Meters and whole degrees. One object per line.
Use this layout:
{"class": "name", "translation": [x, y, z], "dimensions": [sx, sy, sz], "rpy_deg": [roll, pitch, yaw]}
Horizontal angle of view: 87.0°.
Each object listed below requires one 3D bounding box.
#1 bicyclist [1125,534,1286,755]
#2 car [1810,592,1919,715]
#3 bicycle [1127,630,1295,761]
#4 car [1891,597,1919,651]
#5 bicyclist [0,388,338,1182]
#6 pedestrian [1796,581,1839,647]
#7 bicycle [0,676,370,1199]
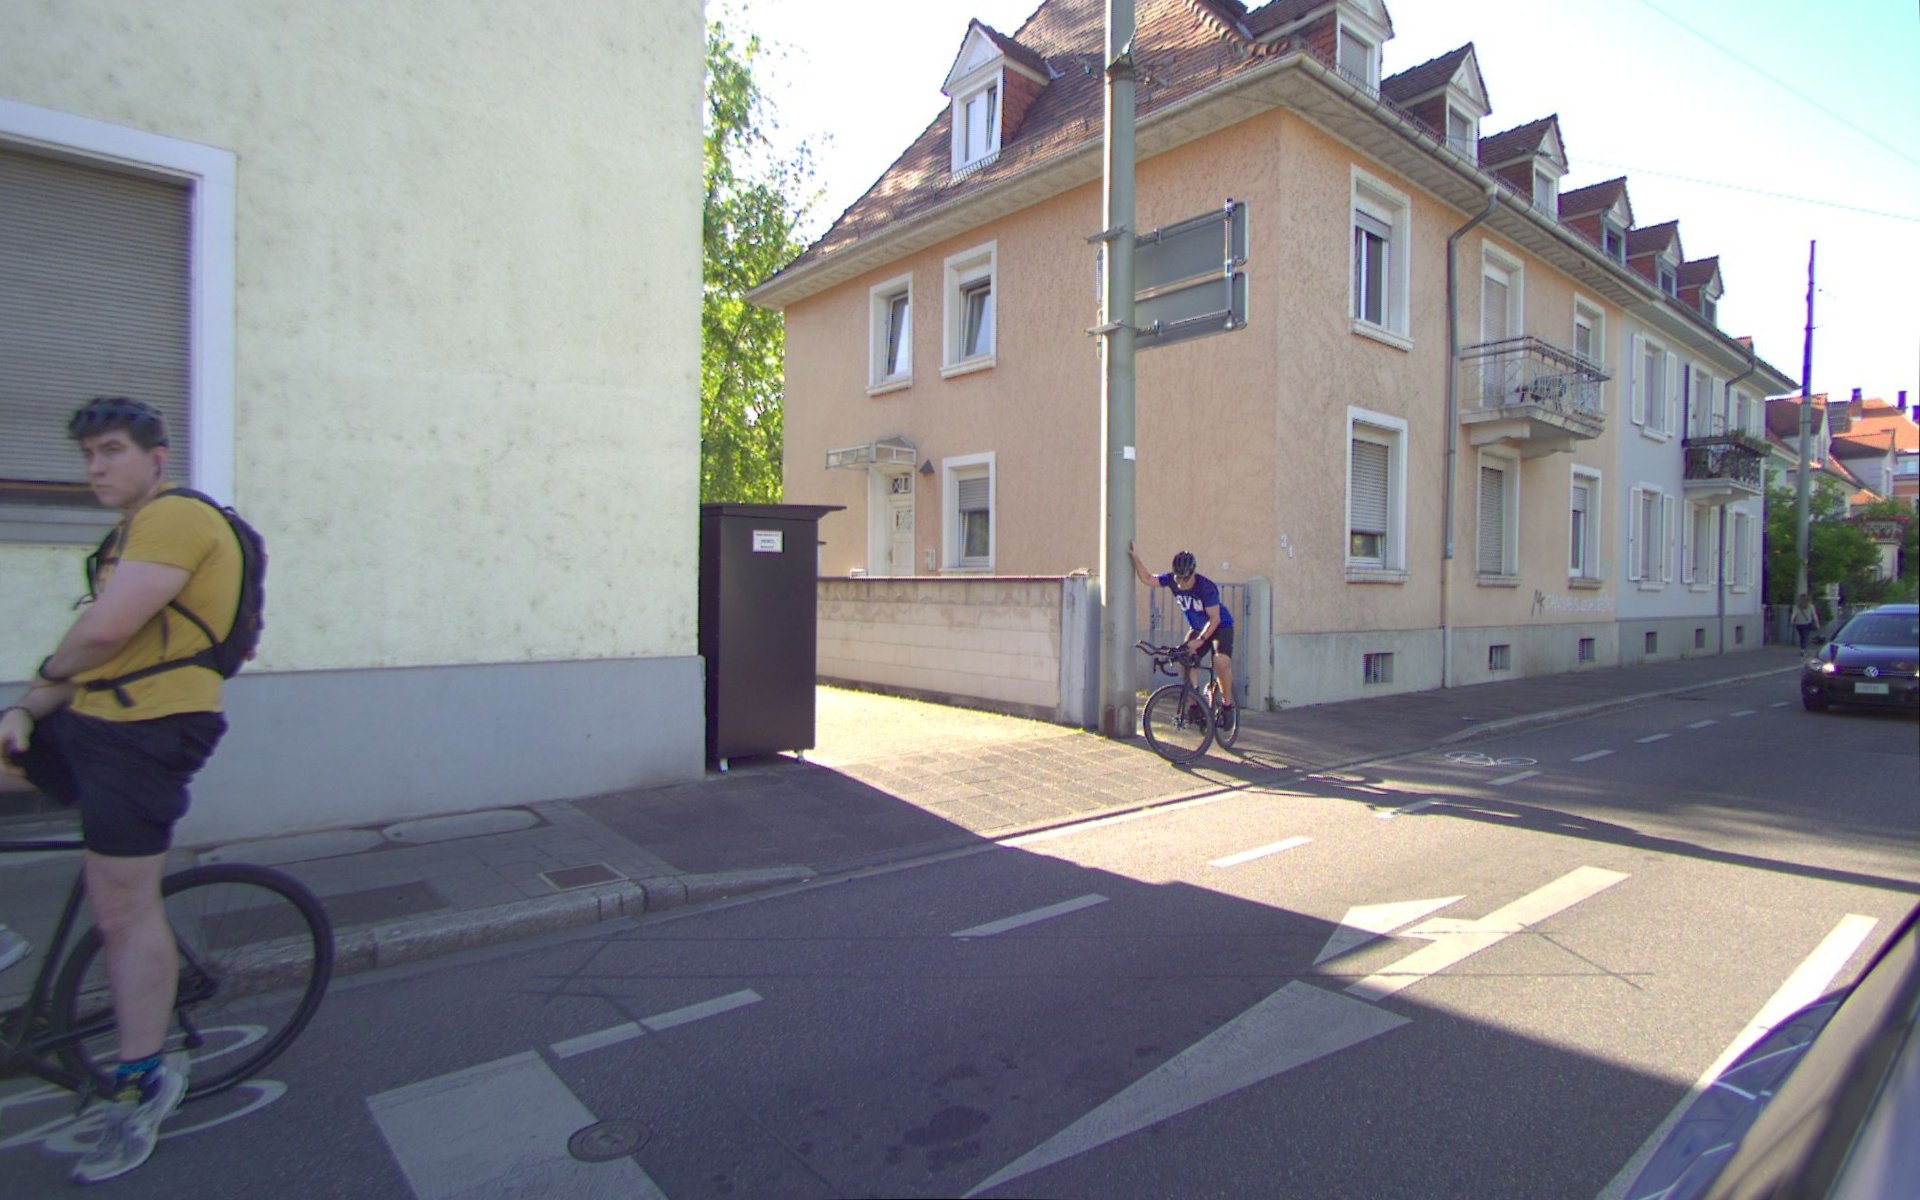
{"class": "bicyclist", "translation": [2.274, 0.363, 9.430], "dimensions": [0.831, 1.887, 1.076], "rpy_deg": [0, 4, -40]}
{"class": "car", "translation": [13.506, 0.671, 14.236], "dimensions": [4.030, 1.541, 1.761], "rpy_deg": [0, 1, -41]}
{"class": "bicycle", "translation": [2.307, 0.820, 9.205], "dimensions": [1.669, 1.003, 0.572], "rpy_deg": [0, 4, -41]}
{"class": "car", "translation": [26.687, 0.630, 27.341], "dimensions": [3.796, 1.382, 1.648], "rpy_deg": [0, 1, -38]}
{"class": "bicyclist", "translation": [-2.310, 0.424, 2.695], "dimensions": [1.018, 1.840, 0.653], "rpy_deg": [0, 1, -41]}
{"class": "pedestrian", "translation": [22.305, 0.358, 26.327], "dimensions": [1.079, 1.682, 0.694], "rpy_deg": [0, 0, -41]}
{"class": "bicycle", "translation": [-2.486, 0.846, 2.531], "dimensions": [1.669, 1.180, 0.572], "rpy_deg": [0, 1, -41]}
